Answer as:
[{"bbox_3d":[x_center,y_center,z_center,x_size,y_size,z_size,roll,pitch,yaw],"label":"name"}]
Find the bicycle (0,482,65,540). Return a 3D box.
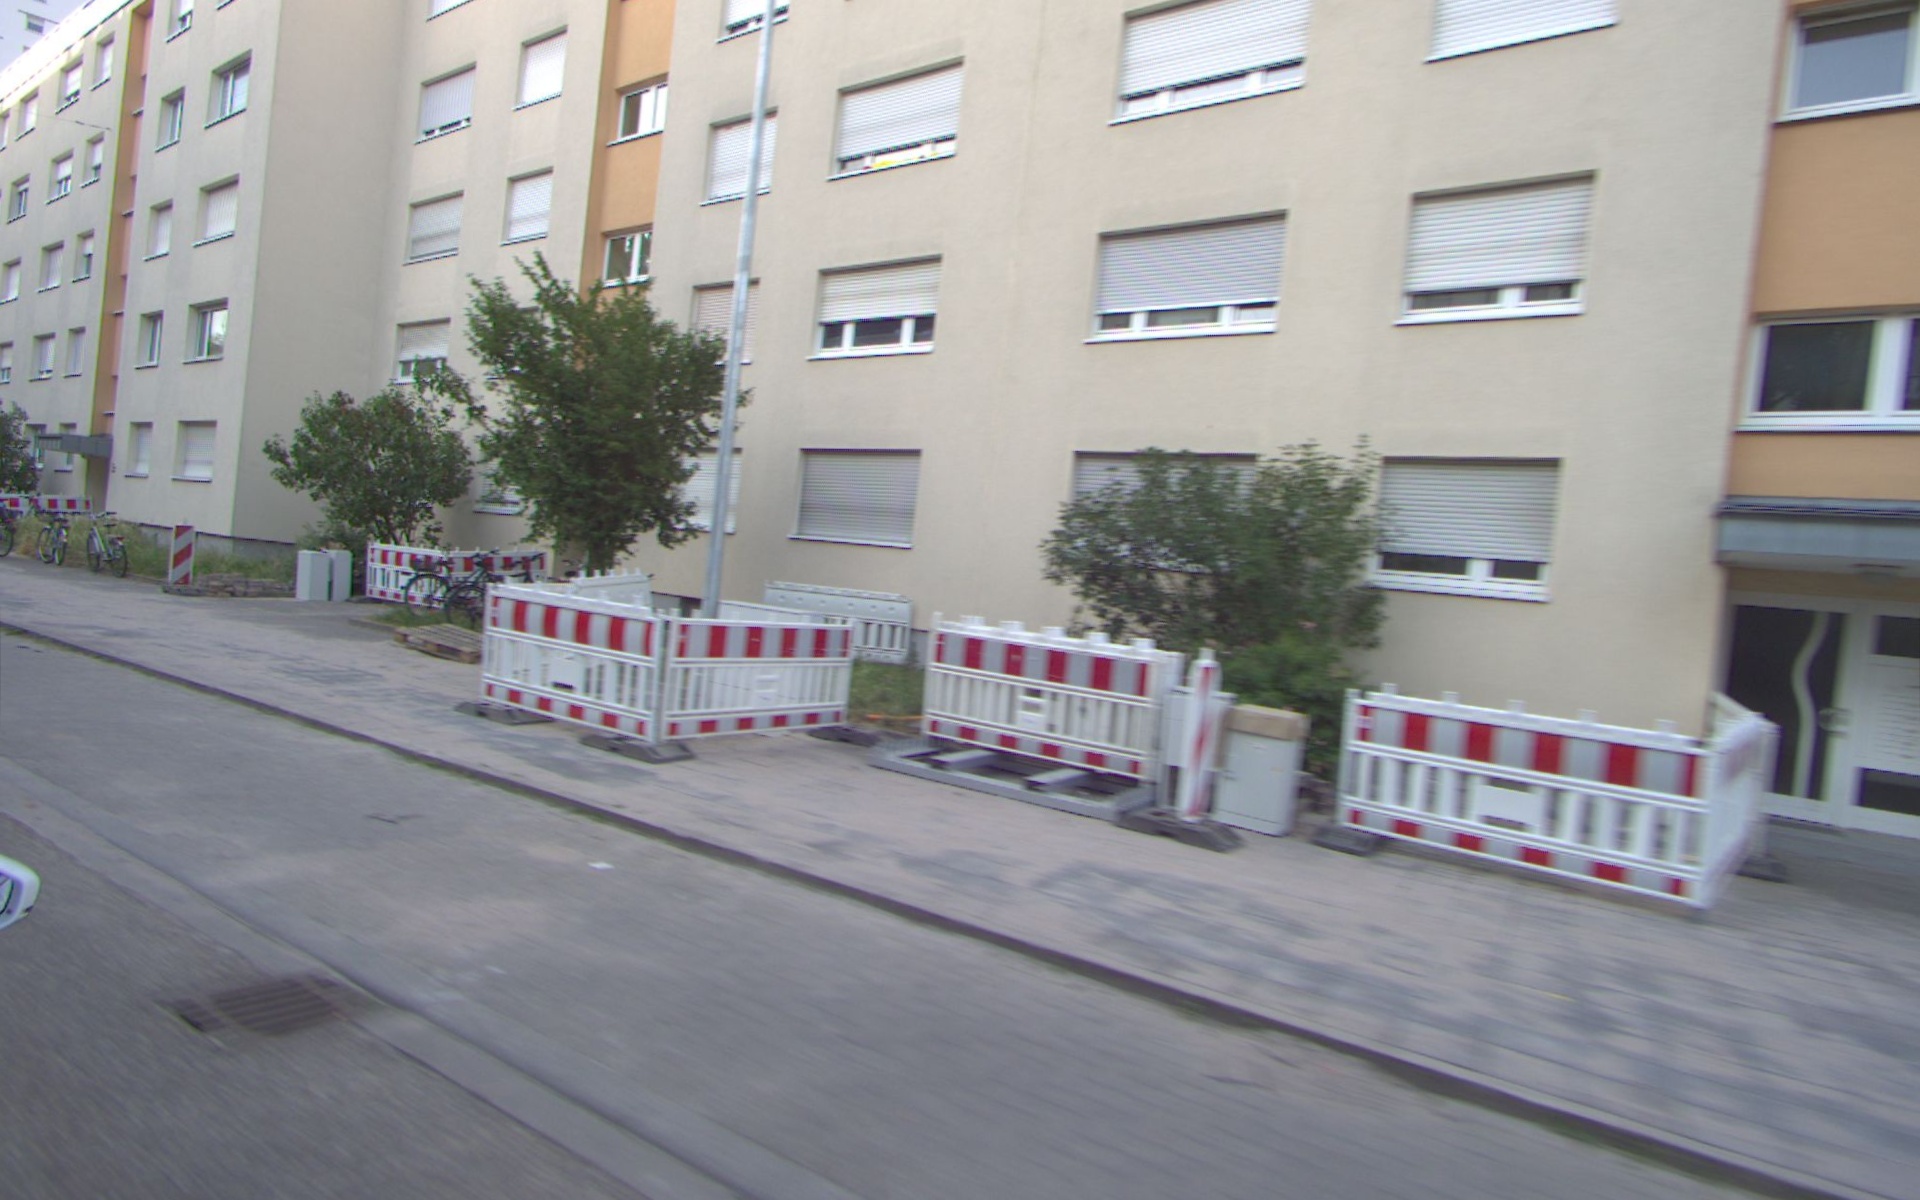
[{"bbox_3d":[-23.025,-2.189,24.560,0.476,1.237,1.596,7,0,25],"label":"bicycle"}]

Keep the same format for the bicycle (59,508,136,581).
[{"bbox_3d":[-16.077,-1.040,18.737,1.788,1.186,0.556,7,0,34],"label":"bicycle"}]

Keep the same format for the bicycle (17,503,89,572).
[{"bbox_3d":[-17.809,-1.233,19.748,1.788,1.186,0.556,7,0,34],"label":"bicycle"}]

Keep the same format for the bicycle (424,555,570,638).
[{"bbox_3d":[-6.358,-0.068,13.898,0.549,1.037,1.809,6,5,32],"label":"bicycle"}]

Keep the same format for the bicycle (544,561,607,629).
[{"bbox_3d":[-6.050,-0.104,15.897,0.548,0.934,1.811,3,4,-9],"label":"bicycle"}]

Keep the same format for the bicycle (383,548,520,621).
[{"bbox_3d":[-7.610,-0.232,15.109,0.550,1.001,1.747,7,5,40],"label":"bicycle"}]

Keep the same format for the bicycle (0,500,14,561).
[{"bbox_3d":[-19.583,-1.468,19.685,1.782,1.186,0.558,7,0,12],"label":"bicycle"}]

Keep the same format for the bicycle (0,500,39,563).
[{"bbox_3d":[-19.738,-1.466,20.388,1.782,1.186,0.628,7,0,15],"label":"bicycle"}]

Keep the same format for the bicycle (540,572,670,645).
[{"bbox_3d":[-4.892,0.103,13.896,1.584,0.877,0.557,4,4,3],"label":"bicycle"}]
